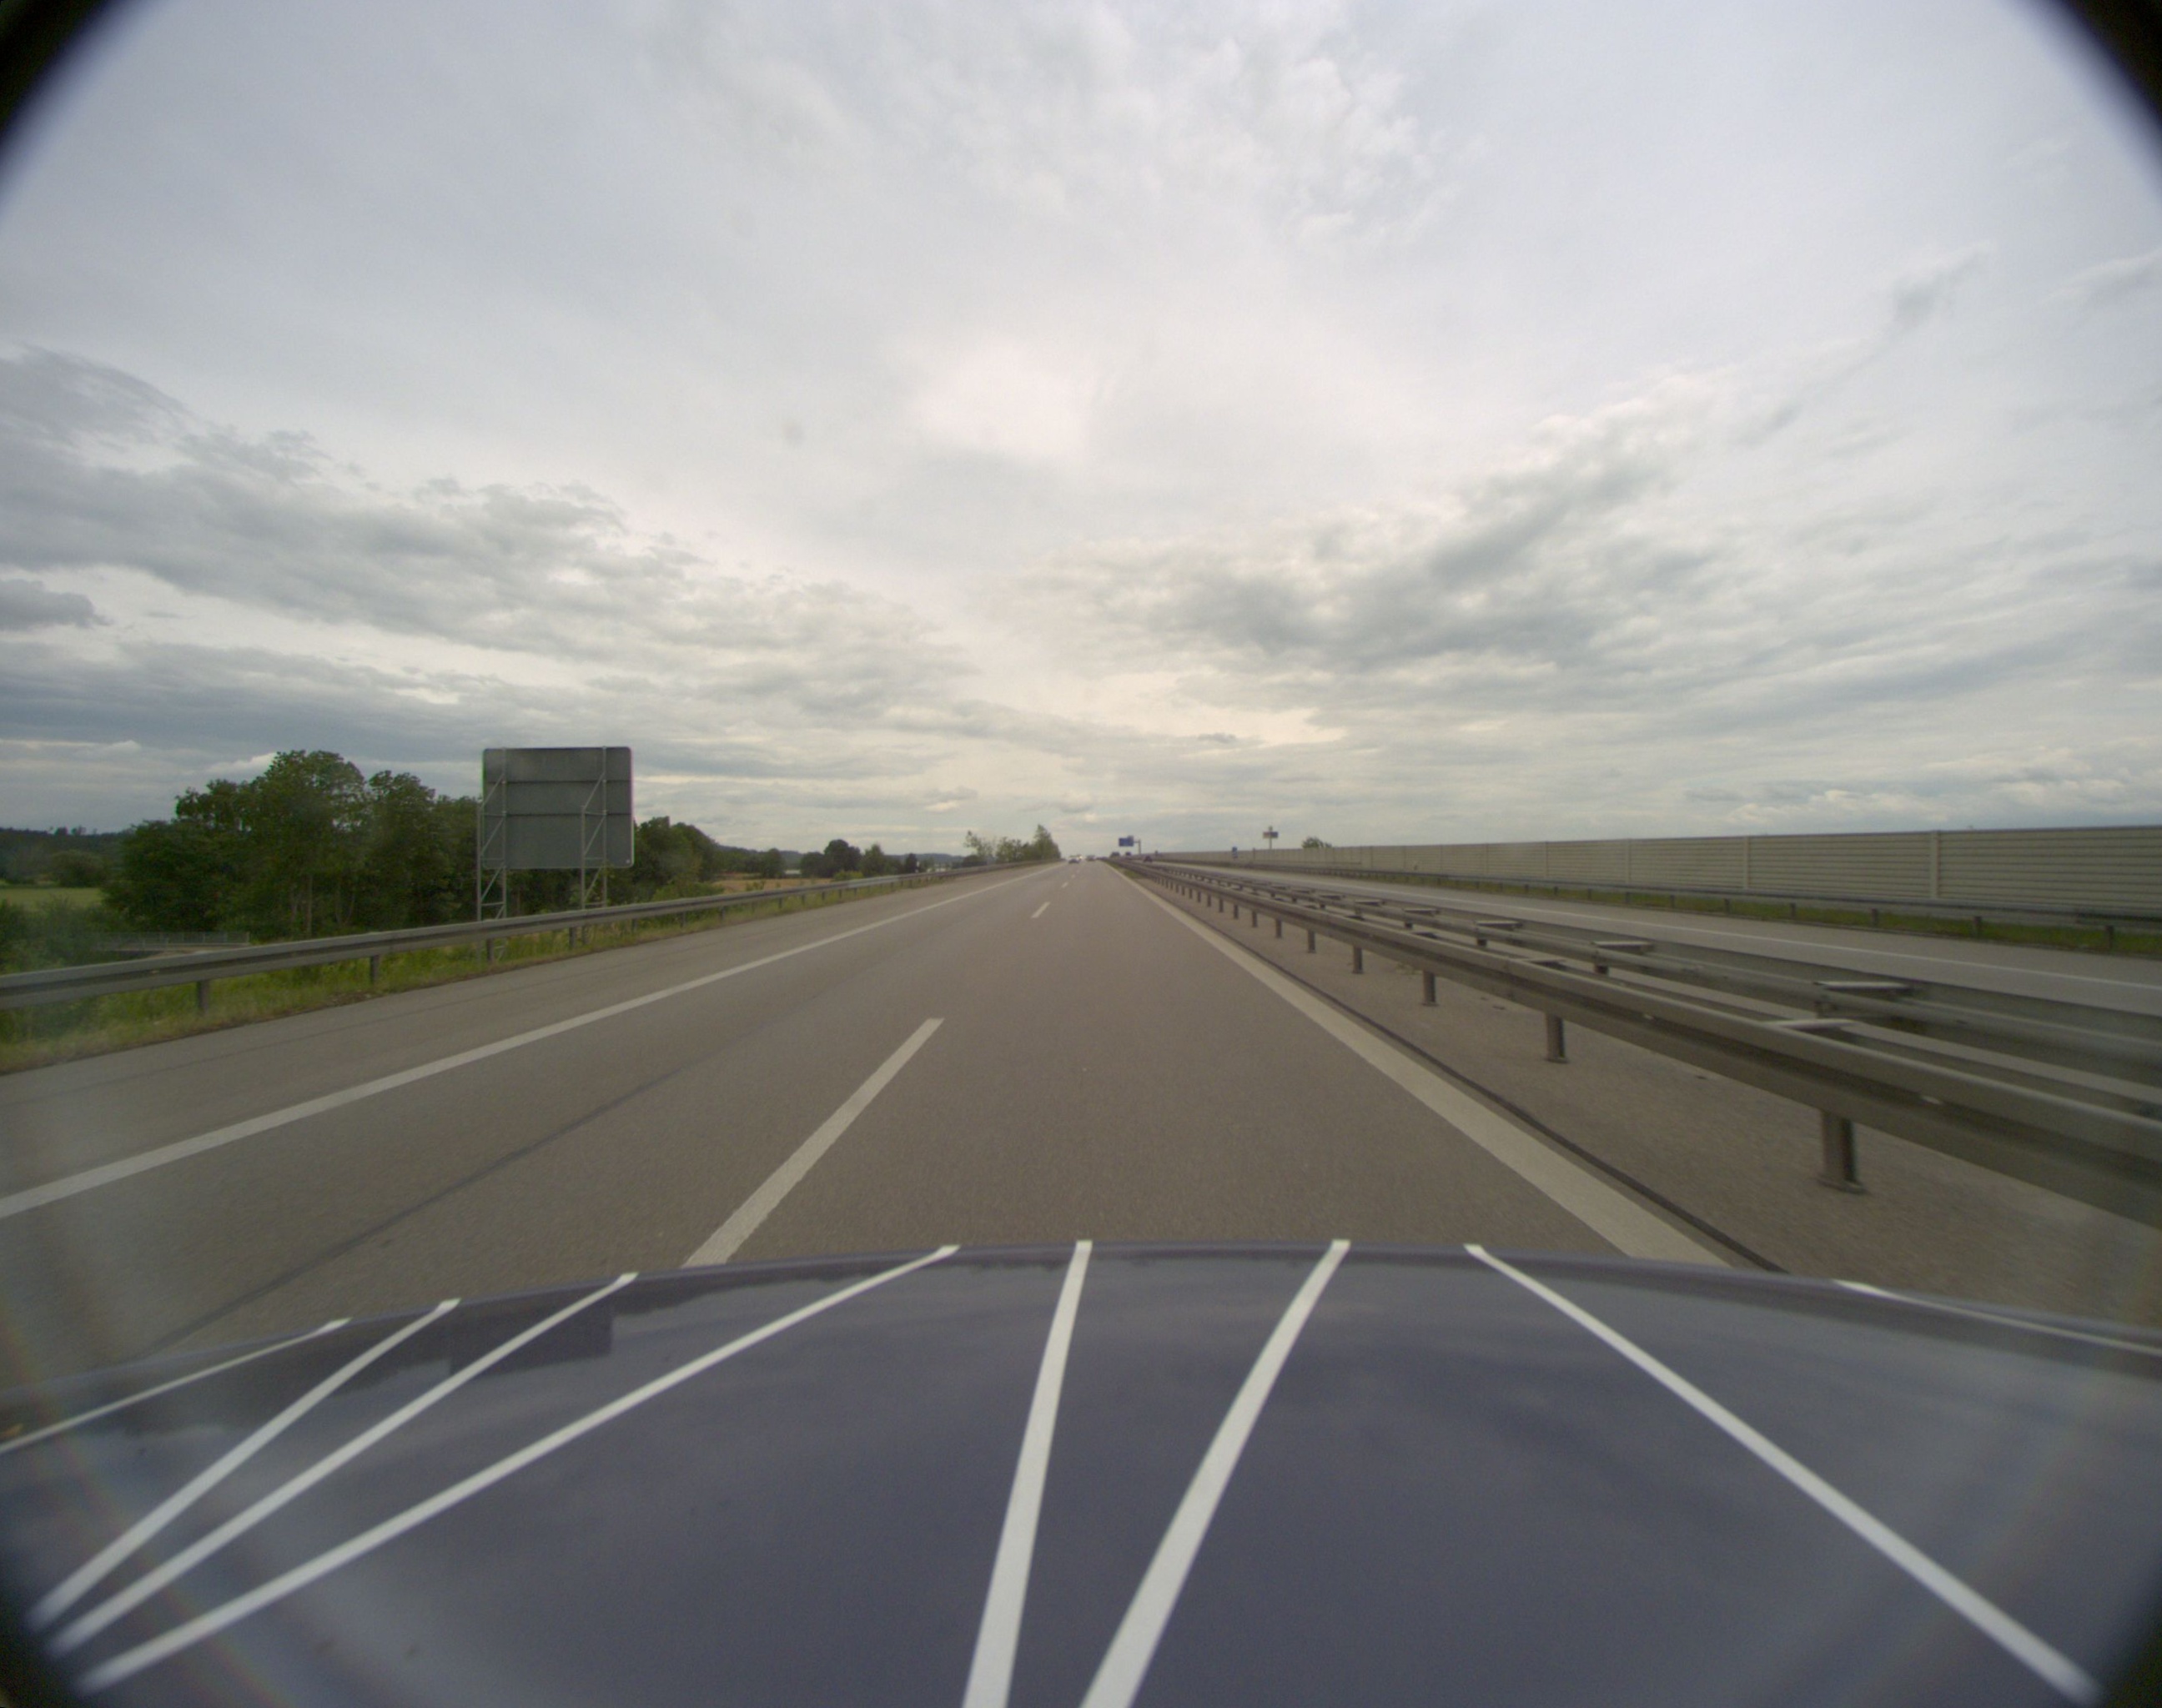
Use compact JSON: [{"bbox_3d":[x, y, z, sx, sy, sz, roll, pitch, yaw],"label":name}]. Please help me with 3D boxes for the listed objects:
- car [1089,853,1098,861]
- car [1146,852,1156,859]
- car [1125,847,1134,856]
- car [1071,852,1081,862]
[{"bbox_3d":[2.867,0.631,172.982,1.851,1.664,4.200,1,-2,-1],"label":"car"},{"bbox_3d":[14.207,0.320,155.252,1.674,1.378,4.000,1,0,1],"label":"car"},{"bbox_3d":[14.215,-0.724,222.689,2.075,2.588,6.289,3,1,1],"label":"car"},{"bbox_3d":[-0.944,0.535,139.529,1.851,1.664,4.200,1,-2,-1],"label":"car"}]
